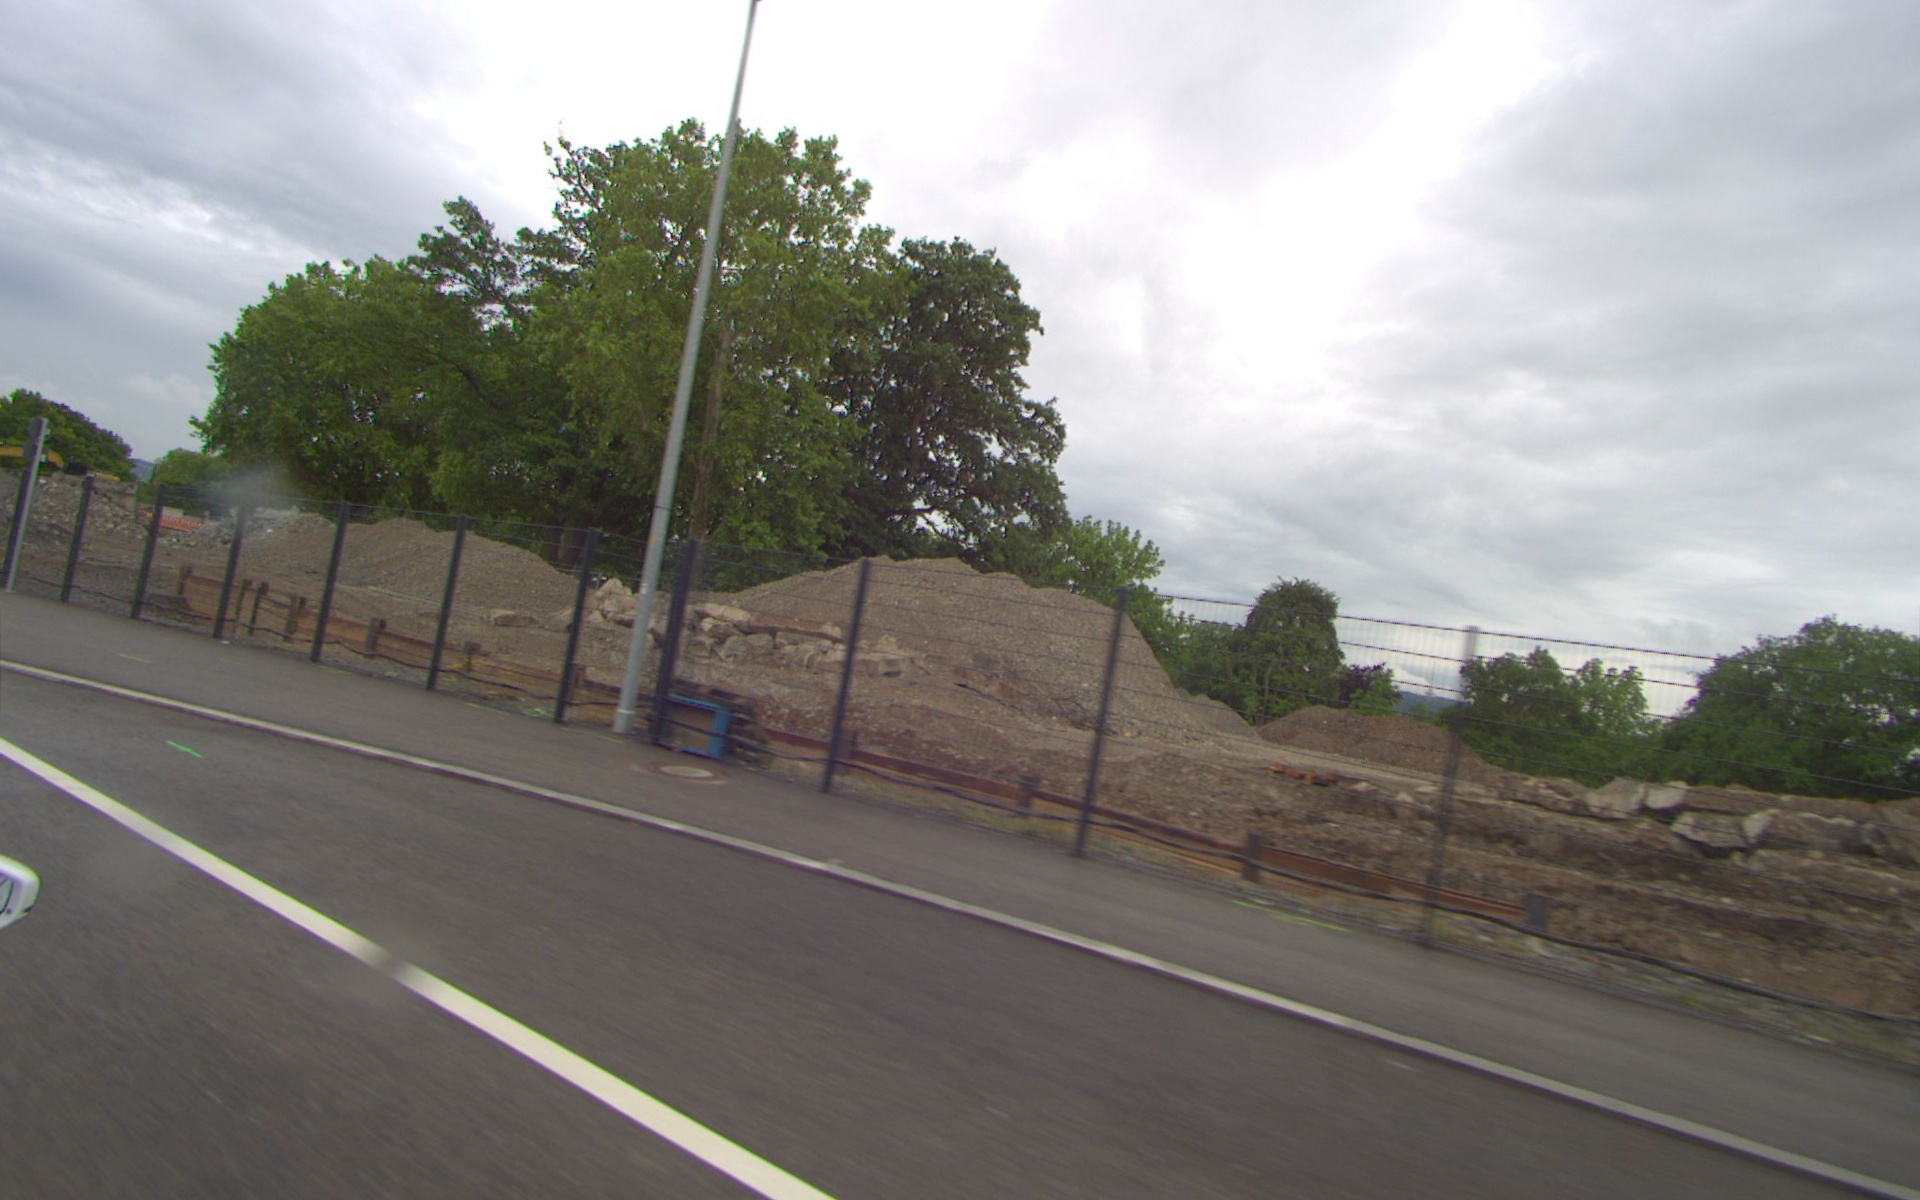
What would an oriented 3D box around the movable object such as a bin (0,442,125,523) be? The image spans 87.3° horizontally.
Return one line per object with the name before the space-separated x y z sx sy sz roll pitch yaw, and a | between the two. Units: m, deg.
movable object such as a bin | -91.478 -11.830 100.570 3.438 6.061 11.244 6 -3 37
